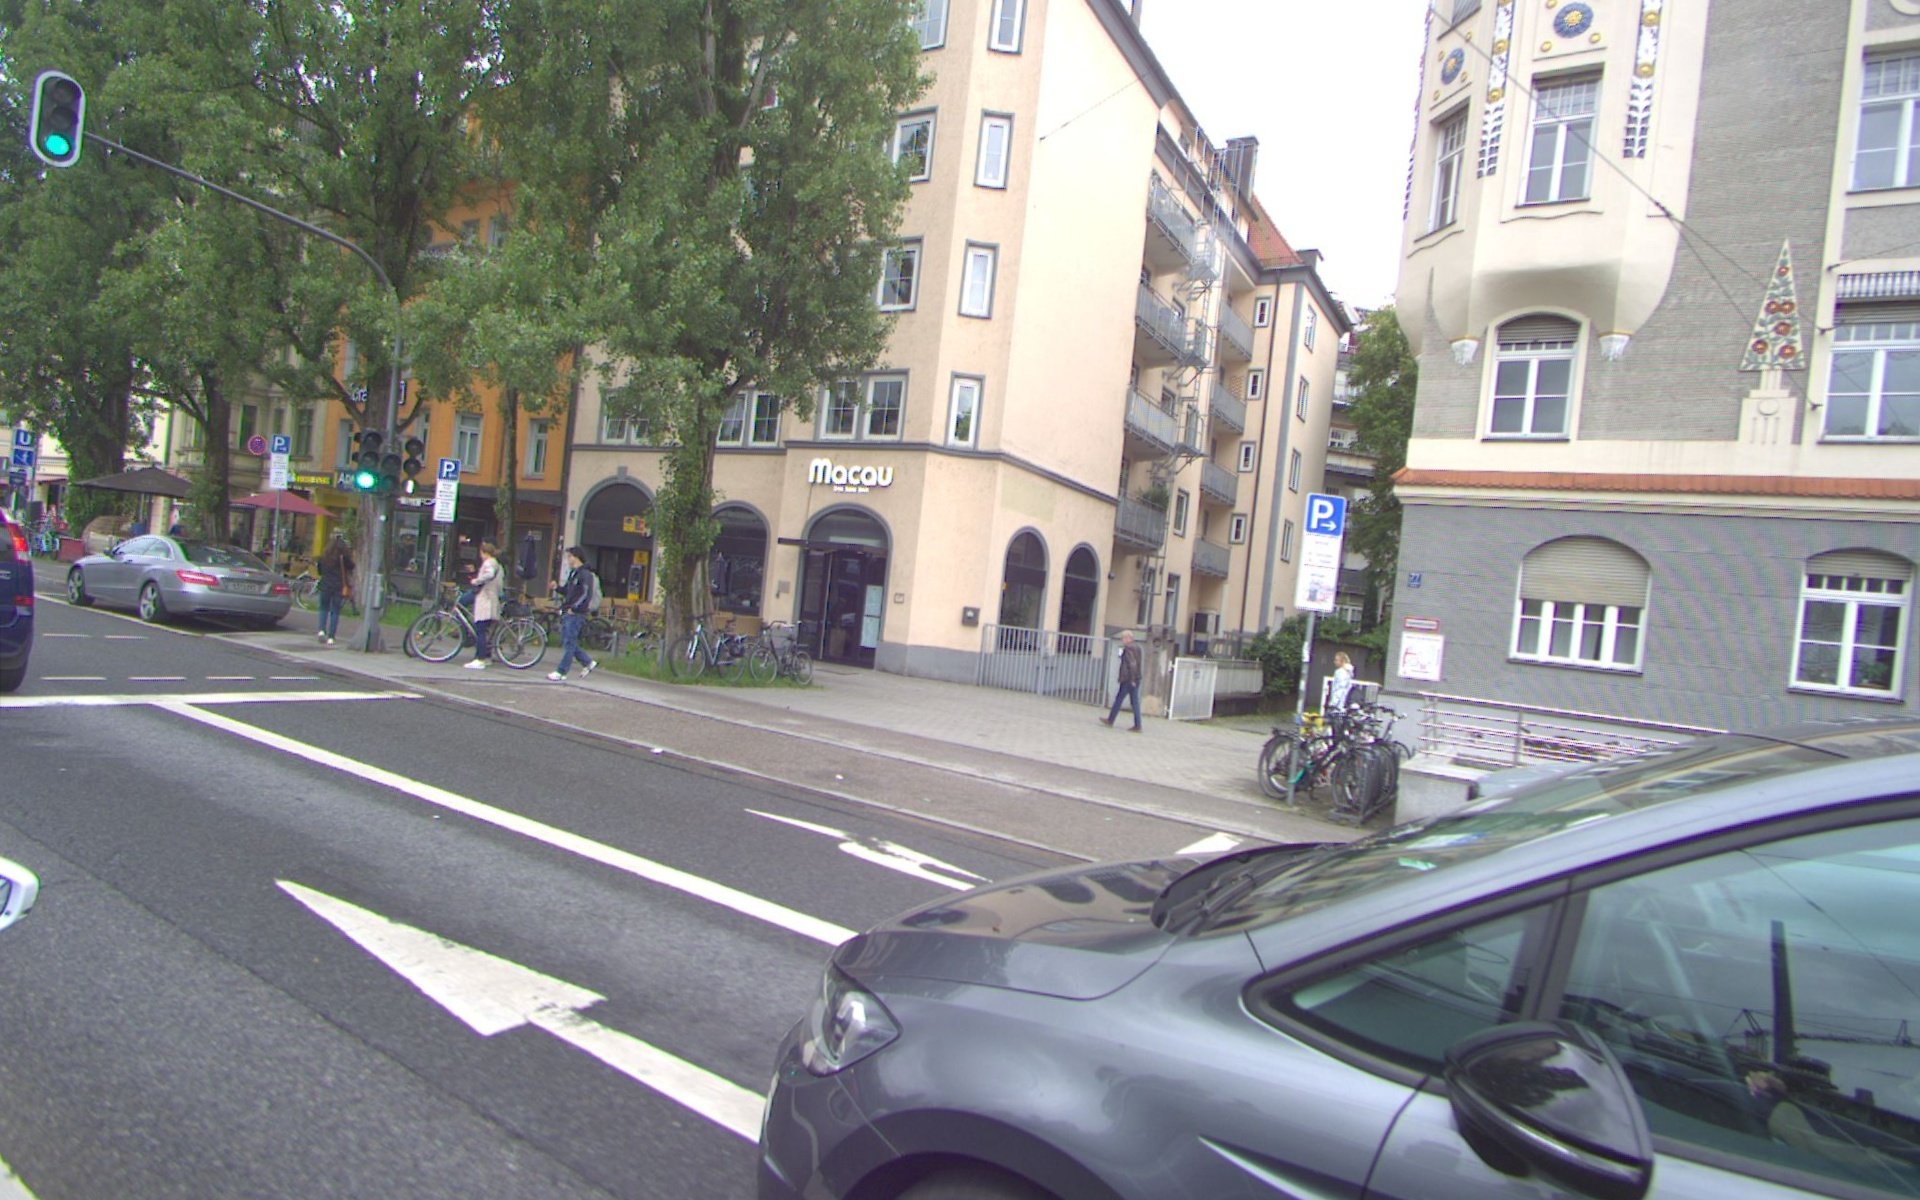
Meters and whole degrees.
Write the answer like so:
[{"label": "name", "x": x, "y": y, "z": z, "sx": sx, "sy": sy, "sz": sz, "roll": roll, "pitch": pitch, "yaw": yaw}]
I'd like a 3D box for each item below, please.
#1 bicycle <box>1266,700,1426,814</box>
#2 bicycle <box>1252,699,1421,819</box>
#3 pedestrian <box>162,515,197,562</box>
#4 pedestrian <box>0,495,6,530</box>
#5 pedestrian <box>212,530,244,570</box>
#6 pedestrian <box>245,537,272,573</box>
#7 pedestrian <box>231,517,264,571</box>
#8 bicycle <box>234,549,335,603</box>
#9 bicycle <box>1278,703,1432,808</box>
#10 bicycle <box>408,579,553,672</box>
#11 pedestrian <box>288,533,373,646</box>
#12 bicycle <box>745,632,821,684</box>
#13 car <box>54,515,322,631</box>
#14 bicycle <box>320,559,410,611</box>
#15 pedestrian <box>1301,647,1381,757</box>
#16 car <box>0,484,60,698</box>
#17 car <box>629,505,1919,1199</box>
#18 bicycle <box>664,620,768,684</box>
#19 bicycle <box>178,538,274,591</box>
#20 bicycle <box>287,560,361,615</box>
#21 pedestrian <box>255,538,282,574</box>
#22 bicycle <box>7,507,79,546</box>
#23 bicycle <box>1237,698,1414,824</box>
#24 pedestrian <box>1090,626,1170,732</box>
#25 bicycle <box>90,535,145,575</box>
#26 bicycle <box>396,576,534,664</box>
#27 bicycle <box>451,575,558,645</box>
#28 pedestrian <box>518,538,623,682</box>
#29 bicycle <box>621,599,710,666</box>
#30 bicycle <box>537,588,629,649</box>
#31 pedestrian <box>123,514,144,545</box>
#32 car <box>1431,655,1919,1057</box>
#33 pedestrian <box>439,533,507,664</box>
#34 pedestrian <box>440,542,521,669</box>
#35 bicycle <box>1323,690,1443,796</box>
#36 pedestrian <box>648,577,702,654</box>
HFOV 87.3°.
[{"label": "bicycle", "x": 4.547, "y": 1.829, "z": 11.991, "sx": 0.388, "sy": 1.035, "sz": 1.824, "roll": 6, "pitch": -1, "yaw": -31}, {"label": "bicycle", "x": 4.212, "y": 1.760, "z": 11.408, "sx": 0.441, "sy": 1.035, "sz": 1.824, "roll": 6, "pitch": -1, "yaw": -31}, {"label": "pedestrian", "x": -29.274, "y": -2.312, "z": 37.717, "sx": 0.773, "sy": 1.653, "sz": 0.711, "roll": 7, "pitch": 1, "yaw": 32}, {"label": "pedestrian", "x": -45.295, "y": -4.140, "z": 47.134, "sx": 0.666, "sy": 1.653, "sz": 0.615, "roll": 7, "pitch": 1, "yaw": 32}, {"label": "pedestrian", "x": -25.040, "y": -1.710, "z": 34.406, "sx": 0.655, "sy": 1.237, "sz": 0.601, "roll": 7, "pitch": 1, "yaw": 32}, {"label": "pedestrian", "x": -27.620, "y": -1.775, "z": 39.613, "sx": 0.573, "sy": 1.296, "sz": 0.584, "roll": 7, "pitch": 1, "yaw": 31}, {"label": "pedestrian", "x": -24.745, "y": -1.938, "z": 34.955, "sx": 0.655, "sy": 1.761, "sz": 0.601, "roll": 7, "pitch": 1, "yaw": 32}, {"label": "bicycle", "x": -15.768, "y": -0.538, "z": 23.538, "sx": 0.450, "sy": 1.067, "sz": 1.891, "roll": 6, "pitch": 0, "yaw": 29}, {"label": "bicycle", "x": 4.853, "y": 1.891, "z": 12.489, "sx": 0.388, "sy": 0.990, "sz": 1.824, "roll": 6, "pitch": -1, "yaw": -31}, {"label": "bicycle", "x": -6.735, "y": 0.363, "z": 14.174, "sx": 1.717, "sy": 1.116, "sz": 0.358, "roll": 6, "pitch": 1, "yaw": -13}, {"label": "pedestrian", "x": -9.442, "y": -0.158, "z": 15.123, "sx": 0.751, "sy": 1.582, "sz": 0.760, "roll": 7, "pitch": 1, "yaw": -17}, {"label": "bicycle", "x": -3.166, "y": 1.053, "z": 18.112, "sx": 0.385, "sy": 0.845, "sz": 1.575, "roll": 6, "pitch": -2, "yaw": 29}, {"label": "car", "x": -13.236, "y": -0.476, "z": 17.208, "sx": 4.452, "sy": 1.458, "sz": 1.996, "roll": 6, "pitch": 0, "yaw": 30}, {"label": "bicycle", "x": -14.850, "y": -0.348, "z": 25.161, "sx": 0.450, "sy": 1.127, "sz": 1.891, "roll": 6, "pitch": 0, "yaw": 29}, {"label": "pedestrian", "x": 6.621, "y": 1.751, "z": 17.477, "sx": 1.000, "sy": 1.735, "sz": 0.746, "roll": 7, "pitch": 1, "yaw": 32}, {"label": "car", "x": -8.979, "y": -0.271, "z": 8.005, "sx": 3.497, "sy": 1.609, "sz": 1.705, "roll": 6, "pitch": -1, "yaw": 32}, {"label": "car", "x": 1.817, "y": 0.917, "z": 1.431, "sx": 4.631, "sy": 1.668, "sz": 1.773, "roll": 6, "pitch": 1, "yaw": 33}, {"label": "bicycle", "x": -3.972, "y": 0.881, "z": 16.520, "sx": 0.386, "sy": 0.928, "sz": 1.836, "roll": 6, "pitch": -2, "yaw": 33}, {"label": "bicycle", "x": -19.283, "y": -0.914, "z": 26.480, "sx": 0.573, "sy": 1.188, "sz": 1.889, "roll": 6, "pitch": 0, "yaw": 33}, {"label": "bicycle", "x": -13.329, "y": -0.274, "z": 21.072, "sx": 1.626, "sy": 0.977, "sz": 0.589, "roll": 6, "pitch": 0, "yaw": 32}, {"label": "pedestrian", "x": -26.932, "y": -1.700, "z": 39.165, "sx": 0.573, "sy": 1.296, "sz": 0.584, "roll": 7, "pitch": 1, "yaw": 31}, {"label": "bicycle", "x": -31.360, "y": -2.510, "z": 34.417, "sx": 0.380, "sy": 1.058, "sz": 1.727, "roll": 8, "pitch": 0, "yaw": 25}, {"label": "bicycle", "x": 3.892, "y": 1.695, "z": 10.866, "sx": 0.441, "sy": 1.035, "sz": 1.824, "roll": 6, "pitch": -1, "yaw": -31}, {"label": "pedestrian", "x": 2.972, "y": 1.365, "z": 17.548, "sx": 1.000, "sy": 1.706, "sz": 0.746, "roll": 7, "pitch": 1, "yaw": 32}, {"label": "bicycle", "x": -22.368, "y": -1.200, "z": 26.704, "sx": 1.862, "sy": 0.903, "sz": 0.457, "roll": 6, "pitch": 0, "yaw": 30}, {"label": "bicycle", "x": -7.234, "y": 0.300, "z": 14.774, "sx": 1.722, "sy": 1.116, "sz": 0.357, "roll": 6, "pitch": 1, "yaw": -24}, {"label": "bicycle", "x": -8.730, "y": 0.215, "z": 19.361, "sx": 0.440, "sy": 1.122, "sz": 1.801, "roll": 7, "pitch": -2, "yaw": 33}, {"label": "pedestrian", "x": -5.305, "y": 0.147, "z": 13.733, "sx": 0.742, "sy": 1.824, "sz": 0.882, "roll": 7, "pitch": 1, "yaw": 22}, {"label": "bicycle", "x": -5.276, "y": 0.604, "z": 18.121, "sx": 0.386, "sy": 1.063, "sz": 1.574, "roll": 6, "pitch": -1, "yaw": 32}, {"label": "bicycle", "x": -7.812, "y": 0.402, "z": 20.923, "sx": 0.440, "sy": 1.123, "sz": 1.799, "roll": 7, "pitch": -1, "yaw": 33}, {"label": "pedestrian", "x": -37.756, "y": -3.207, "z": 45.962, "sx": 0.543, "sy": 1.349, "sz": 0.495, "roll": 7, "pitch": 1, "yaw": 32}, {"label": "car", "x": 5.216, "y": 1.421, "z": 5.596, "sx": 4.426, "sy": 1.683, "sz": 1.733, "roll": 6, "pitch": 2, "yaw": 31}, {"label": "pedestrian", "x": -7.126, "y": -0.022, "z": 14.738, "sx": 0.692, "sy": 1.802, "sz": 0.647, "roll": 7, "pitch": 1, "yaw": -25}, {"label": "pedestrian", "x": -6.733, "y": 0.076, "z": 14.157, "sx": 0.690, "sy": 1.658, "sz": 0.754, "roll": 7, "pitch": 1, "yaw": -12}, {"label": "bicycle", "x": 5.761, "y": 1.914, "z": 13.821, "sx": 0.457, "sy": 1.168, "sz": 1.884, "roll": 6, "pitch": -1, "yaw": -10}, {"label": "pedestrian", "x": -6.404, "y": 0.345, "z": 22.614, "sx": 0.840, "sy": 1.622, "sz": 0.816, "roll": 6, "pitch": 1, "yaw": -32}]
